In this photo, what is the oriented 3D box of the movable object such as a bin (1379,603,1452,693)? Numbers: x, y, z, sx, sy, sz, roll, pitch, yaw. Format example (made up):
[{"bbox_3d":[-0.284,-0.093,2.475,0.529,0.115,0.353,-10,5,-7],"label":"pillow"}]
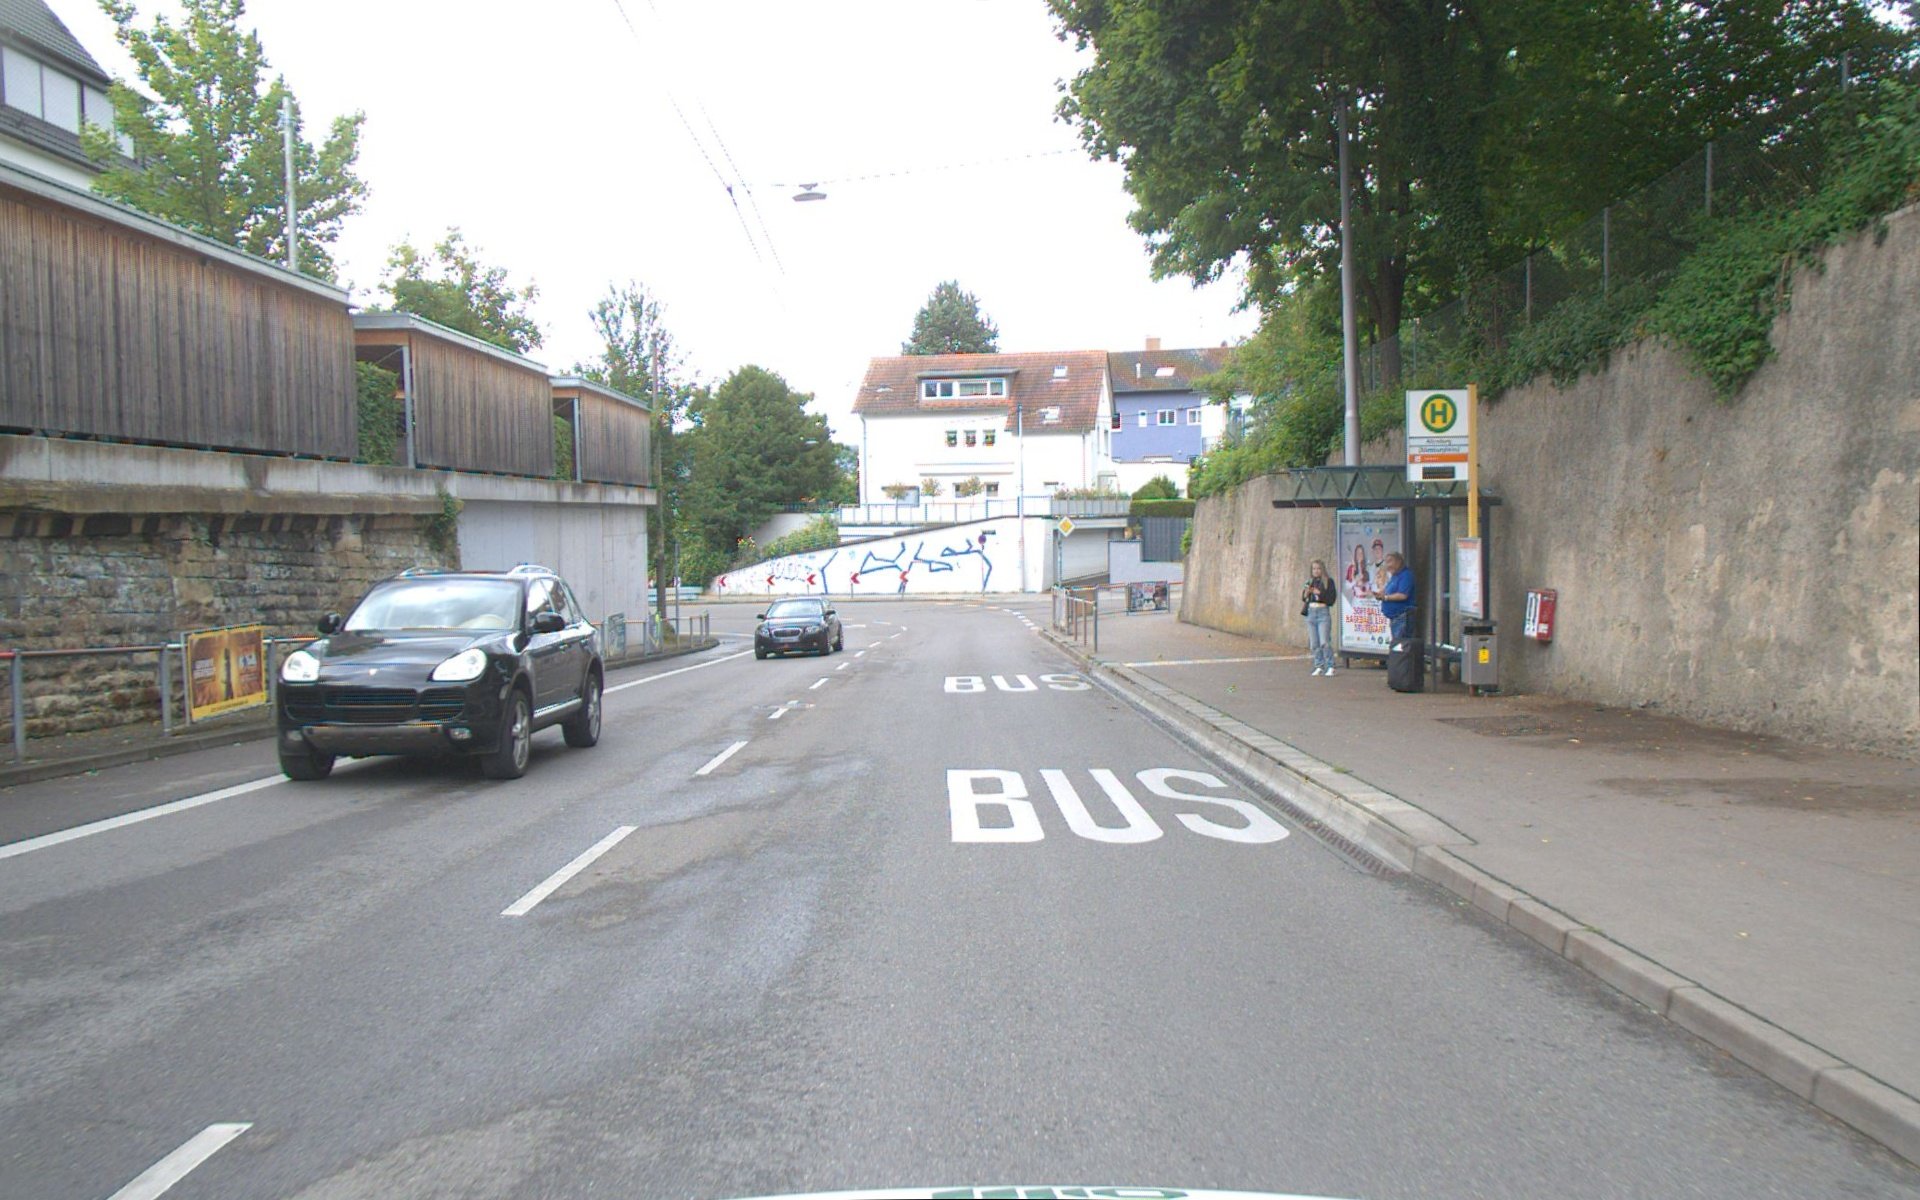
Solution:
[{"bbox_3d":[5.490,0.570,19.951,0.661,1.038,0.626,-1,1,-6],"label":"movable object such as a bin"}]

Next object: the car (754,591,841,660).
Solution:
[{"bbox_3d":[-3.939,0.599,40.577,1.699,1.559,4.000,-1,0,0],"label":"car"}]

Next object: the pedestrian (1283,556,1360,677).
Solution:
[{"bbox_3d":[5.024,0.221,22.976,0.724,1.615,0.769,-2,2,41],"label":"pedestrian"}]

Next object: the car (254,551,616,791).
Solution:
[{"bbox_3d":[-4.478,0.542,14.870,1.855,1.787,4.436,-1,0,-1],"label":"car"}]

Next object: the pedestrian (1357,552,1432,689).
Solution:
[{"bbox_3d":[5.413,0.251,20.636,0.707,1.671,0.630,-1,0,-5],"label":"pedestrian"}]
